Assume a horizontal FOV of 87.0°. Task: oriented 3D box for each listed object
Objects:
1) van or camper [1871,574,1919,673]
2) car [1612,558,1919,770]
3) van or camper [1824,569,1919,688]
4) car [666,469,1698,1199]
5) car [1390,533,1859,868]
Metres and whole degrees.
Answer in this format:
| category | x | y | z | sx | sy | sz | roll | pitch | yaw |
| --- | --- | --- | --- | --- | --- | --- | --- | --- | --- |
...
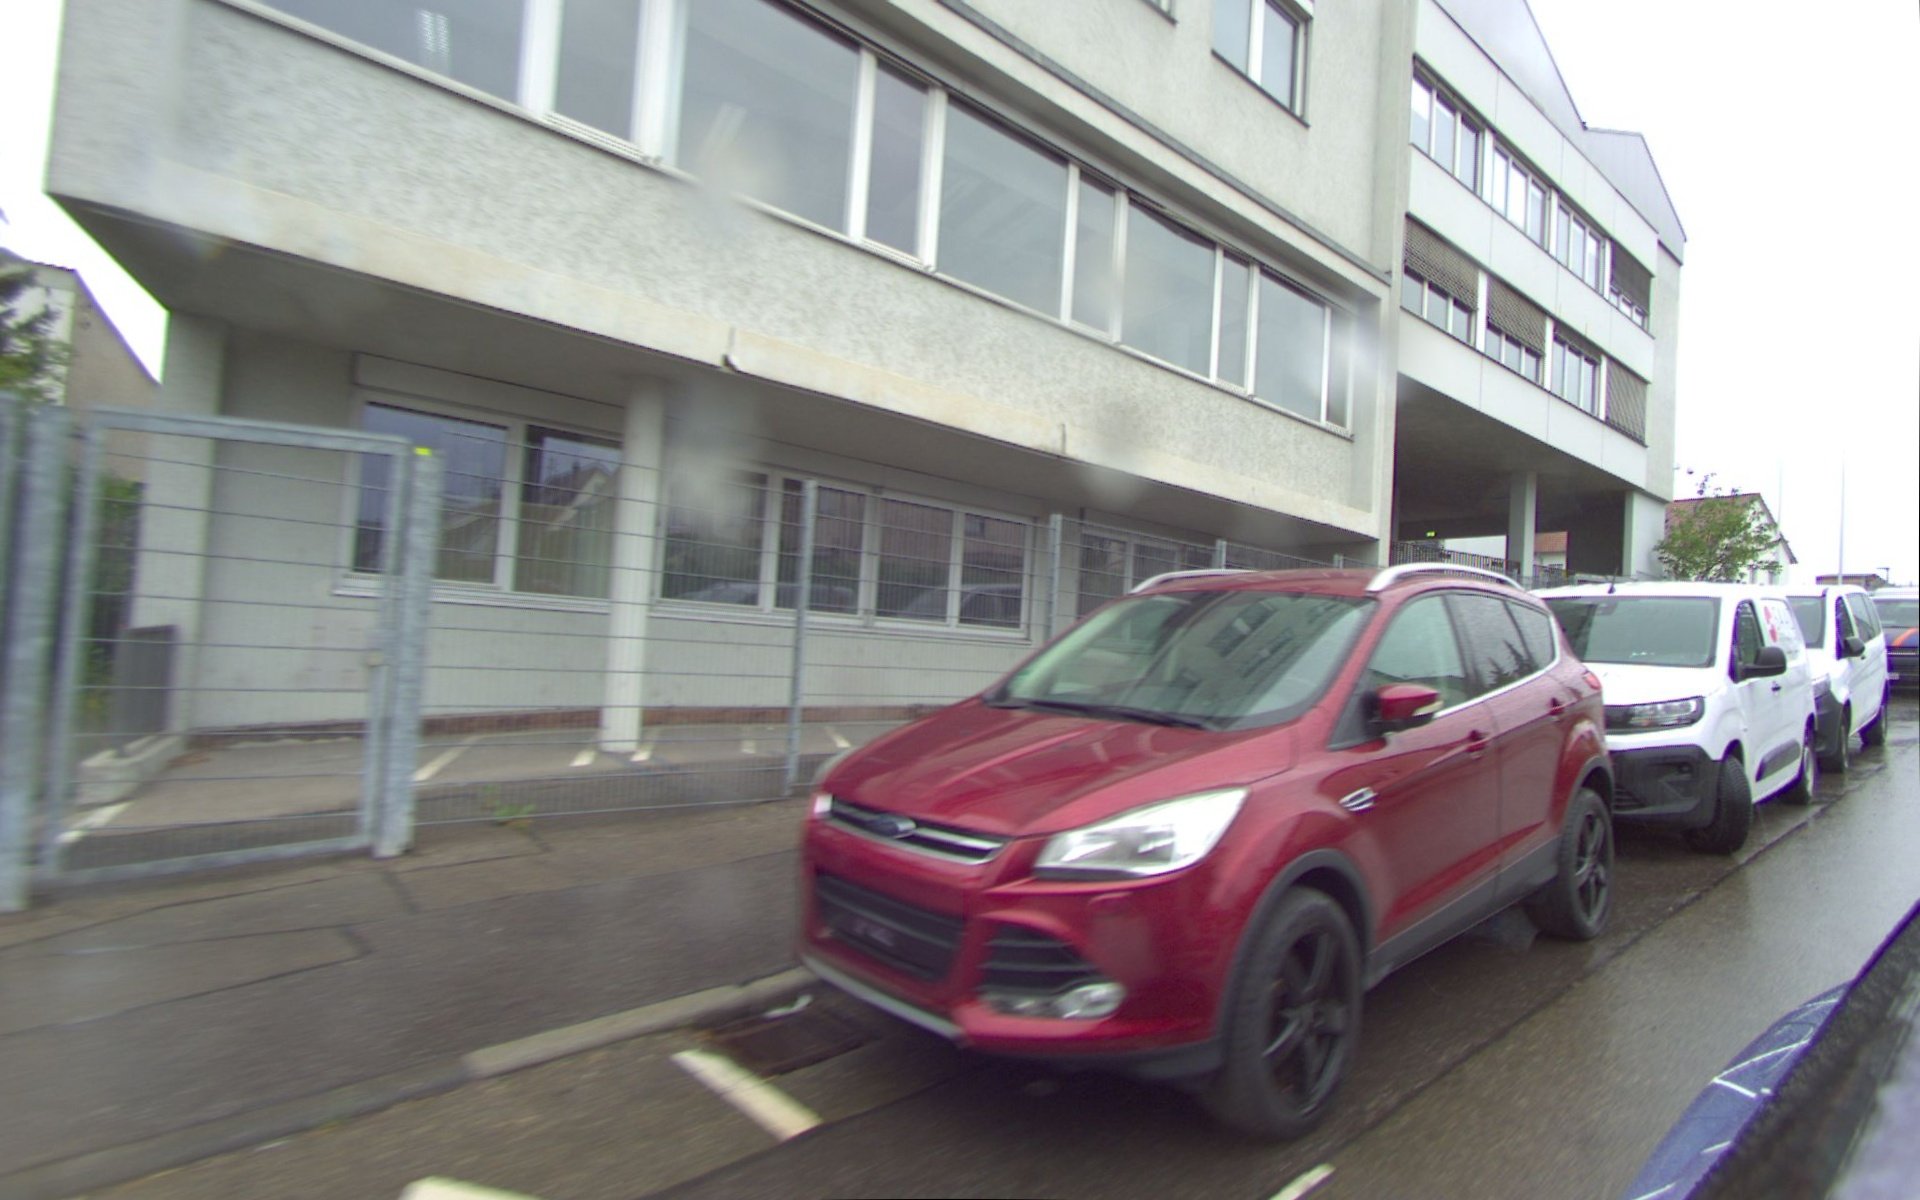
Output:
| category | x | y | z | sx | sy | sz | roll | pitch | yaw |
| --- | --- | --- | --- | --- | --- | --- | --- | --- | --- |
| van or camper | 24.255 | 0.626 | 24.998 | 5.346 | 2.271 | 1.997 | 2 | 0 | -42 |
| car | 9.509 | 0.607 | 11.725 | 4.888 | 1.959 | 1.997 | 1 | 0 | -41 |
| van or camper | 19.145 | 0.574 | 20.347 | 5.112 | 2.140 | 1.997 | 2 | 0 | -42 |
| car | 1.426 | 0.571 | 4.538 | 4.871 | 1.665 | 1.997 | 1 | 0 | -41 |
| car | 5.279 | 0.576 | 7.778 | 4.410 | 1.857 | 1.882 | 1 | 0 | -41 |
